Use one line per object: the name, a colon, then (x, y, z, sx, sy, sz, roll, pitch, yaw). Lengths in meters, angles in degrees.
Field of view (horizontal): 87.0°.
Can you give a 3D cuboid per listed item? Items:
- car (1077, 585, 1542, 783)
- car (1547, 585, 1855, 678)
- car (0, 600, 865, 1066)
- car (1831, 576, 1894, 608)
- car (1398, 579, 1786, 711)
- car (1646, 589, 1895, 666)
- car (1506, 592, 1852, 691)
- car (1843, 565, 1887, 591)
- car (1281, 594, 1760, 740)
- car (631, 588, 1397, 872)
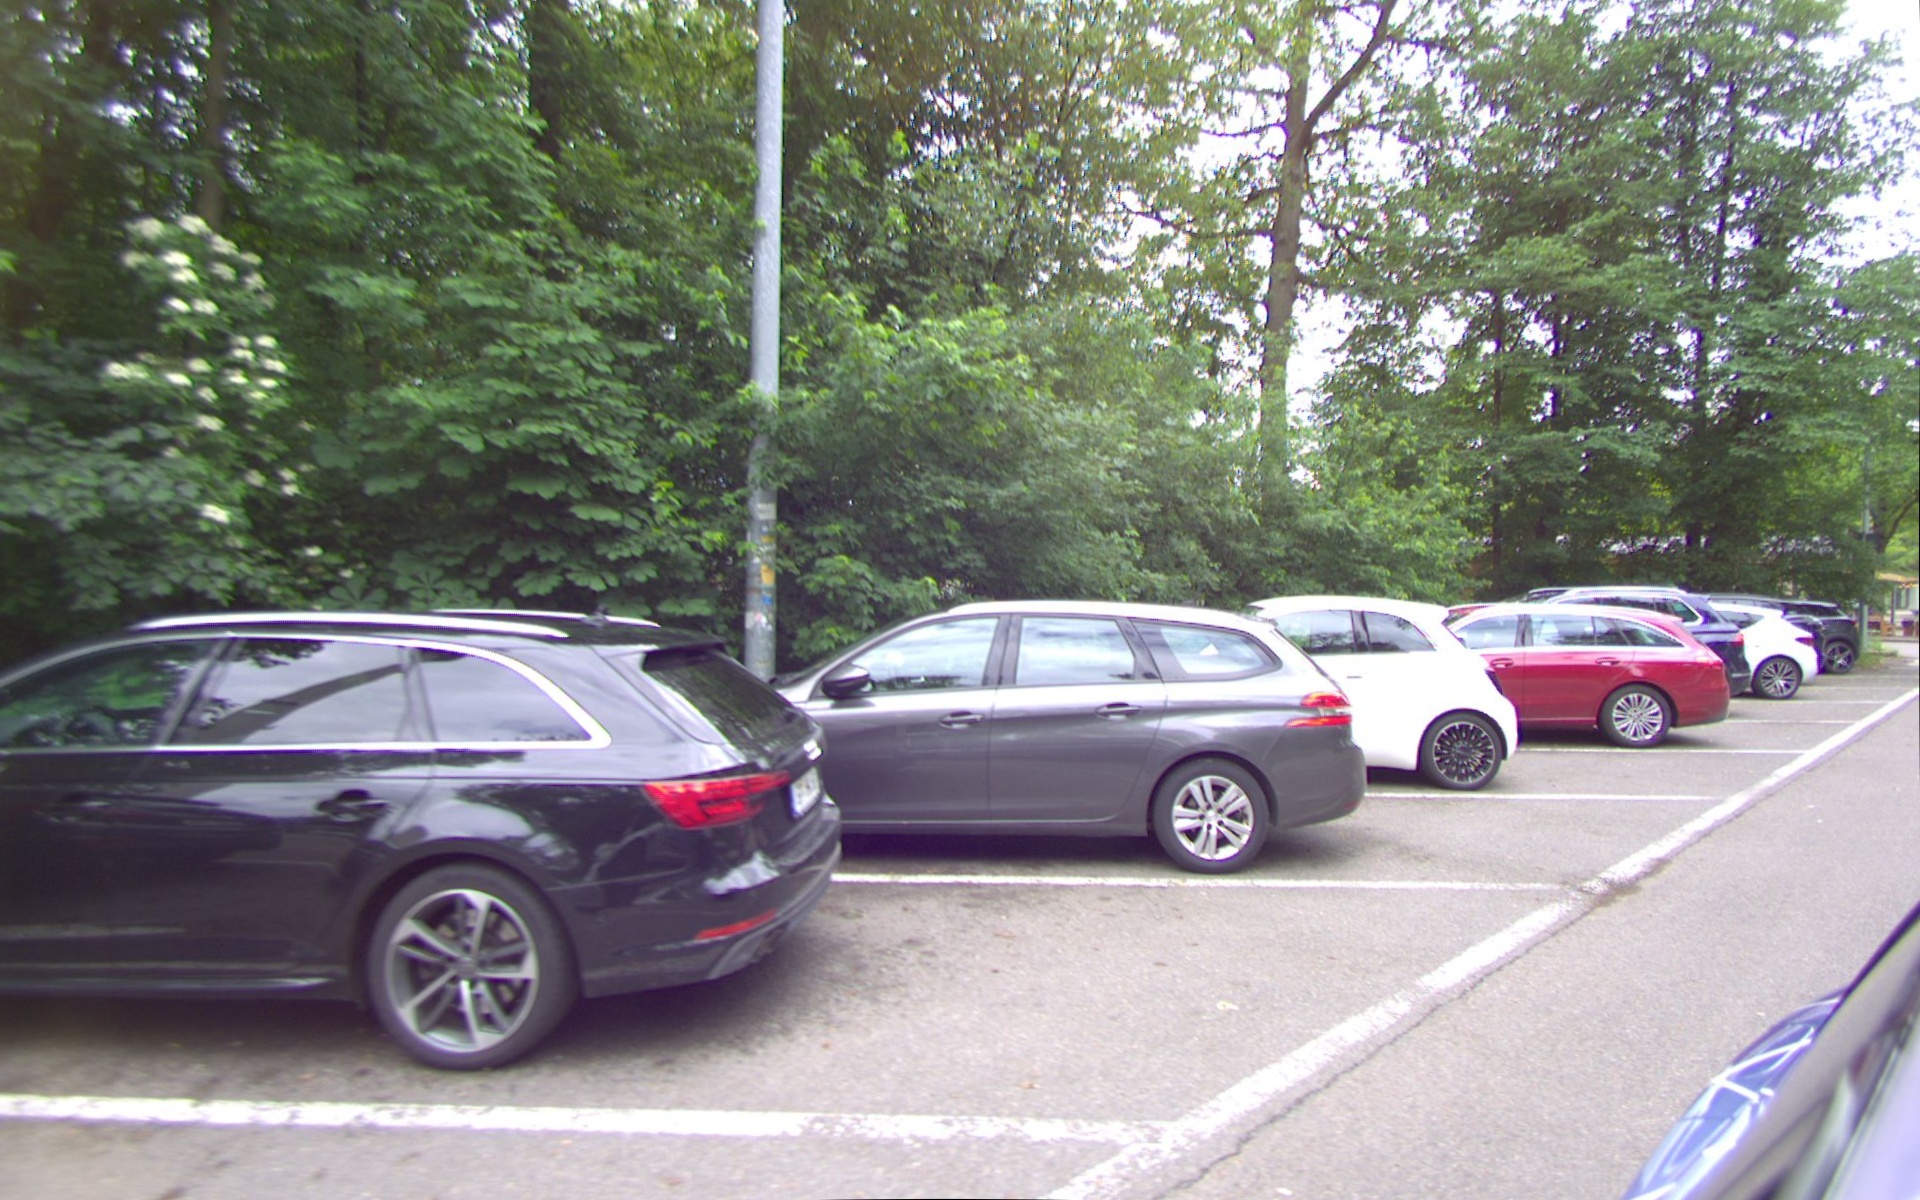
car: (2.816, 0.632, 8.860, 3.520, 1.523, 1.732, 0, 0, 6)
car: (13.403, 0.542, 18.530, 4.125, 1.600, 1.957, 0, 0, 2)
car: (-2.591, 0.710, 4.146, 4.184, 1.395, 1.964, 0, 0, 2)
car: (47.583, -0.436, 53.409, 1.987, 1.571, 3.950, 1, 1, 35)
car: (8.375, 0.556, 13.770, 4.049, 1.638, 1.838, 0, 0, 7)
car: (16.763, 0.547, 21.071, 3.723, 1.511, 1.698, 0, 0, 3)
car: (11.256, 0.612, 16.130, 4.049, 1.457, 1.866, 0, 0, 7)
car: (72.604, -1.745, 81.259, 1.863, 2.065, 4.539, 0, 1, 31)
car: (5.957, 0.668, 11.299, 4.224, 1.431, 1.923, 0, 0, 9)
car: (0.286, 0.665, 6.338, 4.112, 1.476, 1.803, 0, 1, 5)
